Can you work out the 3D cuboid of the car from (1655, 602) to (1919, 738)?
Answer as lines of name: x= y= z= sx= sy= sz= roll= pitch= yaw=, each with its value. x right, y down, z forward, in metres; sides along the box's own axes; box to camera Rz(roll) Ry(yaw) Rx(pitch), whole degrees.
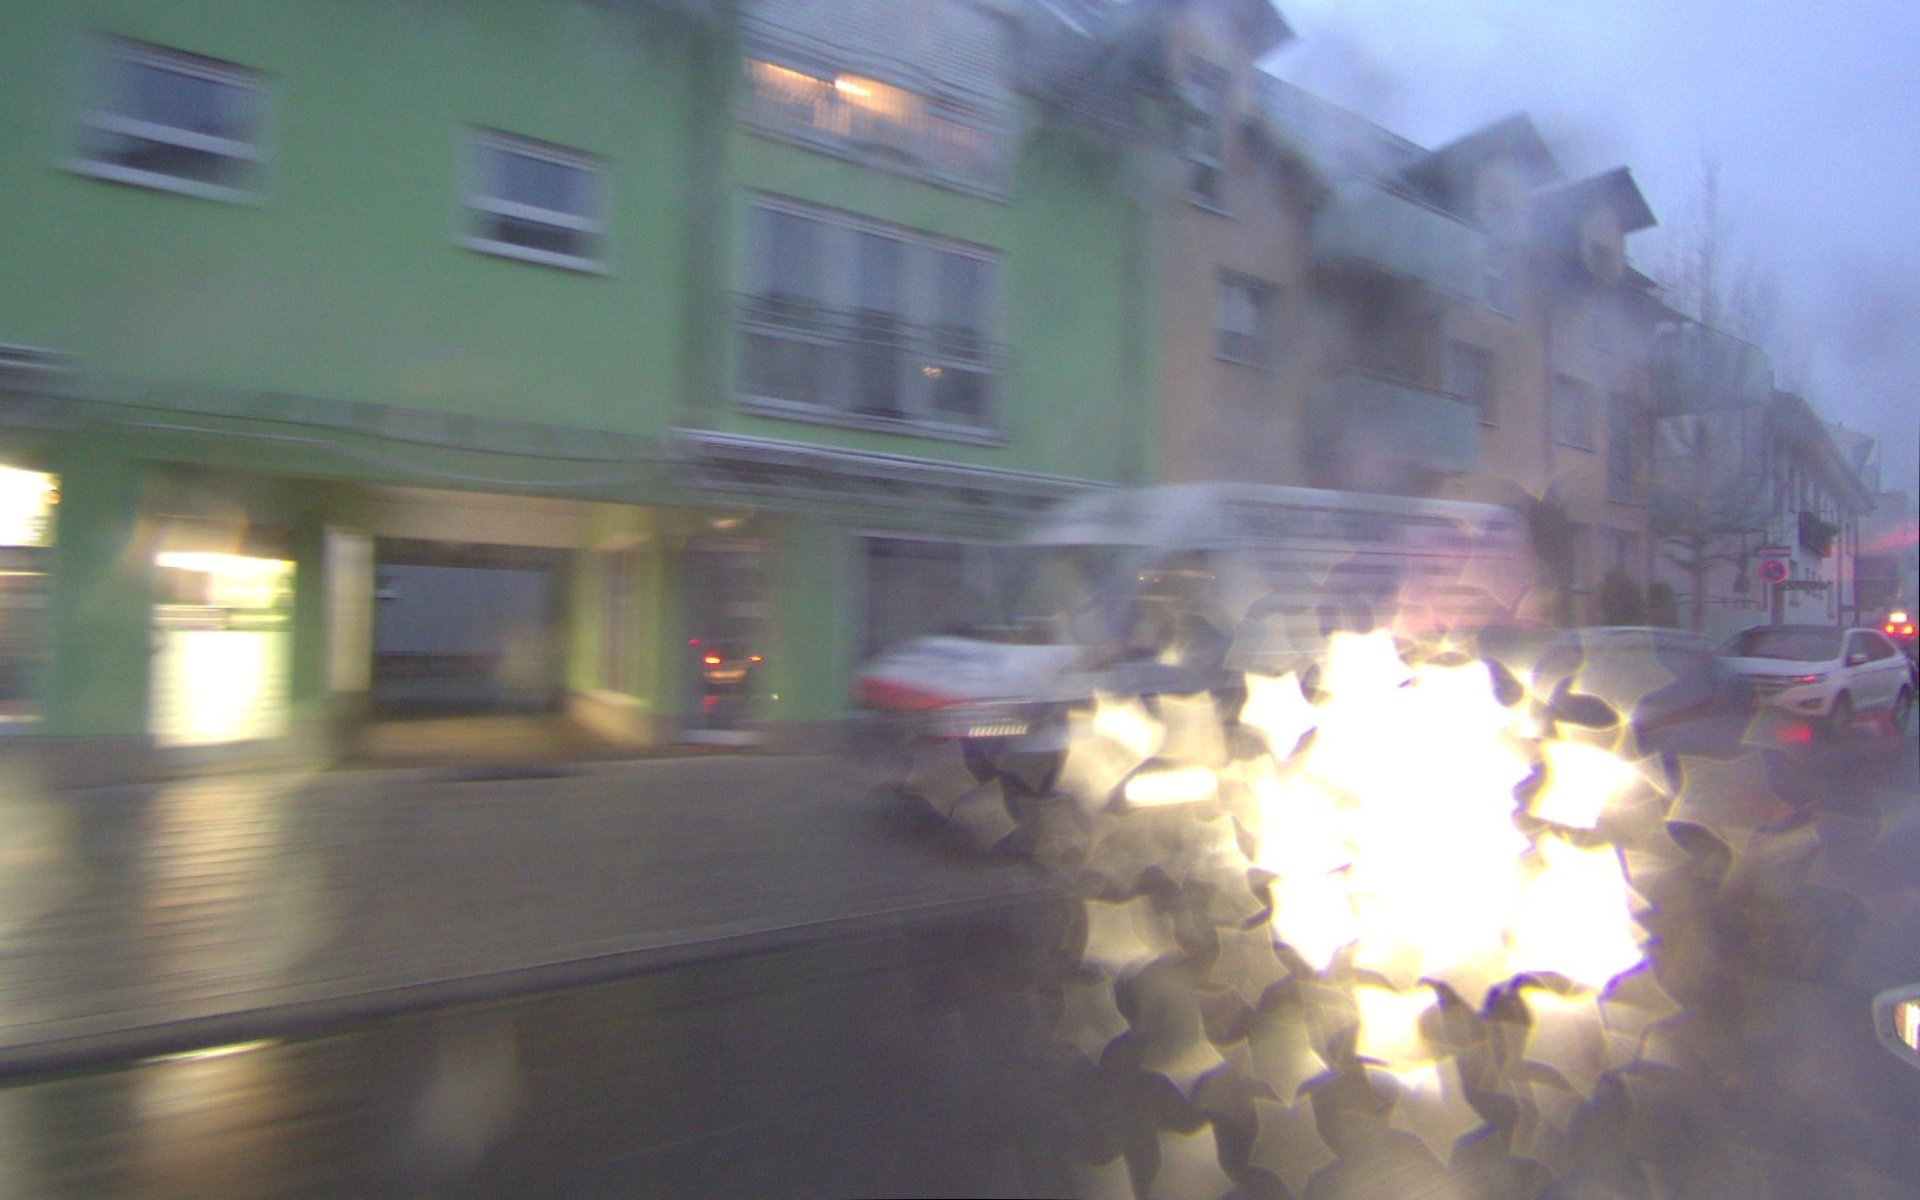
car: x=13.506 y=1.044 z=16.194 sx=5.247 sy=1.868 sz=1.982 roll=2 pitch=0 yaw=-34

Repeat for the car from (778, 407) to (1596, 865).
car: x=2.111 y=0.317 z=8.398 sx=6.678 sy=2.594 sz=2.475 roll=2 pitch=-1 yaw=-29

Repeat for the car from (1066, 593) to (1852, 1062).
car: x=2.791 y=0.884 z=5.380 sx=4.181 sy=1.585 sz=1.907 roll=2 pitch=-4 yaw=-33
